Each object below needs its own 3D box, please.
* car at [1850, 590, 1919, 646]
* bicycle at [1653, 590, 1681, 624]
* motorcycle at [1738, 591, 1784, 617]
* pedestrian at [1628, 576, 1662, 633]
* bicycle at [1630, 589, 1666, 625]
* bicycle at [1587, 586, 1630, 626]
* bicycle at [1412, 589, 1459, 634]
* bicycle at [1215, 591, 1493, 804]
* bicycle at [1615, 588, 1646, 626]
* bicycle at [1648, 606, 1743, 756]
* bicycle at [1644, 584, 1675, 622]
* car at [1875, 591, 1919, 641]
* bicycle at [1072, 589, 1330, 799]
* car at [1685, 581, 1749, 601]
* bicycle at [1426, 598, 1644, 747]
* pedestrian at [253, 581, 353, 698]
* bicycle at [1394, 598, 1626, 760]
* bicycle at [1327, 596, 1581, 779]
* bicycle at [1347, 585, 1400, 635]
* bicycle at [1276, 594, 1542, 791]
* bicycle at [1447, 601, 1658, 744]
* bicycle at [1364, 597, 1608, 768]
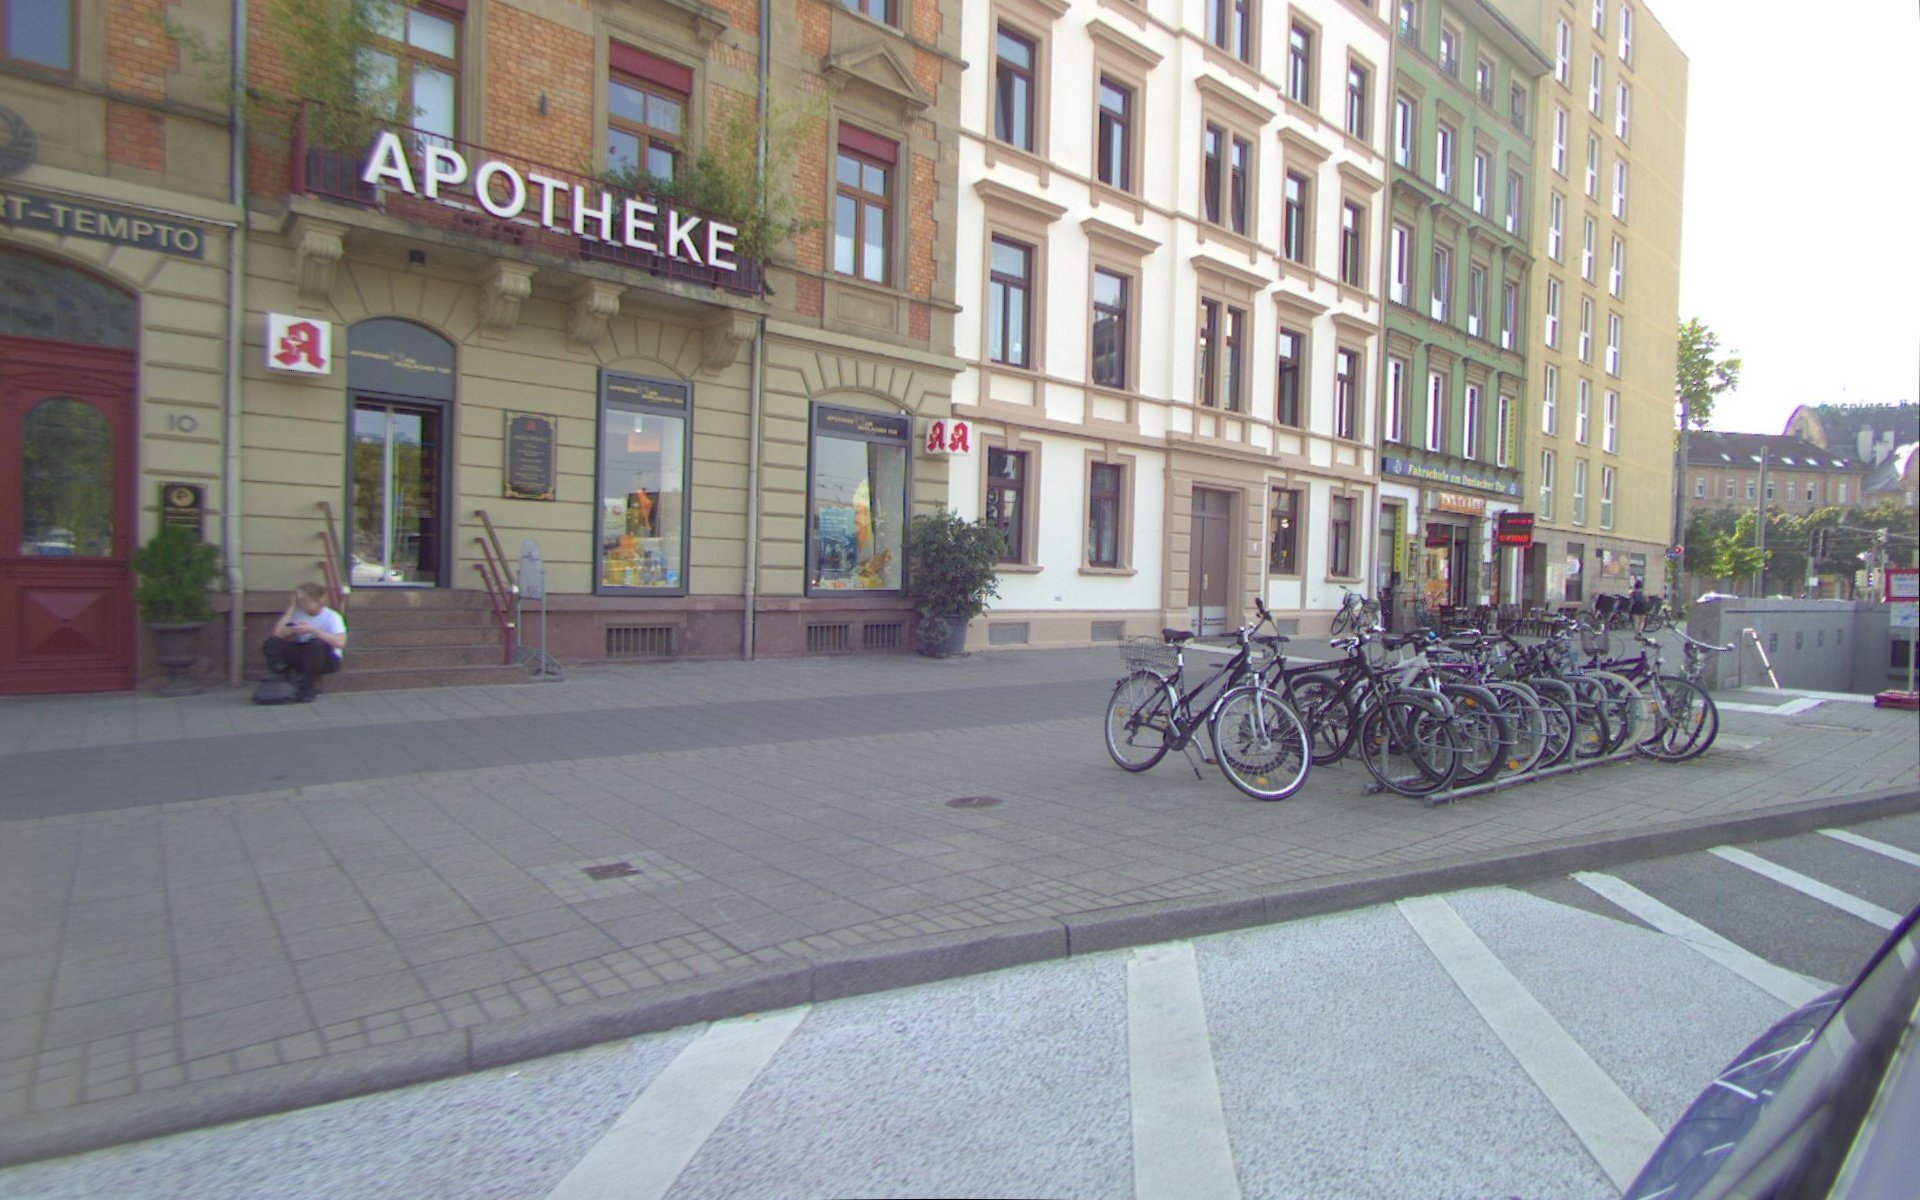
[{"bbox_3d":[27.319,0.510,28.146,3.470,1.482,1.619,1,1,9],"label":"car"},{"bbox_3d":[27.223,0.258,38.960,1.608,1.277,0.469,0,2,-41],"label":"bicycle"},{"bbox_3d":[37.742,0.181,47.699,2.253,1.161,0.707,1,1,-24],"label":"motorcycle"},{"bbox_3d":[20.288,0.113,29.981,0.724,1.649,0.610,0,2,-39],"label":"pedestrian"},{"bbox_3d":[25.018,0.239,36.774,1.816,1.276,0.603,0,2,-41],"label":"bicycle"},{"bbox_3d":[21.376,0.186,33.355,1.962,1.276,0.604,0,2,-40],"label":"bicycle"},{"bbox_3d":[12.429,0.287,26.439,1.688,1.148,0.384,0,2,-40],"label":"bicycle"},{"bbox_3d":[2.471,0.556,6.521,0.379,1.163,1.634,0,2,-44],"label":"bicycle"},{"bbox_3d":[23.287,0.232,35.125,0.602,1.276,1.967,3,2,42],"label":"bicycle"},{"bbox_3d":[6.425,0.651,8.813,0.407,1.163,1.630,3,2,44],"label":"bicycle"},{"bbox_3d":[24.187,0.097,34.962,0.602,1.276,1.967,3,2,42],"label":"bicycle"},{"bbox_3d":[30.472,0.508,30.206,4.336,1.441,1.844,1,2,9],"label":"car"},{"bbox_3d":[1.532,0.540,6.694,0.590,1.163,1.638,0,2,-37],"label":"bicycle"},{"bbox_3d":[58.065,-0.708,77.702,1.766,1.459,3.638,1,2,-9],"label":"car"},{"bbox_3d":[5.110,0.600,9.090,0.379,1.163,1.634,0,2,-44],"label":"bicycle"},{"bbox_3d":[-5.854,0.337,9.046,0.623,0.994,0.615,1,2,-20],"label":"pedestrian"},{"bbox_3d":[4.543,0.604,8.456,0.379,1.163,1.634,0,2,-44],"label":"bicycle"},{"bbox_3d":[3.596,0.582,7.490,0.379,1.163,1.634,0,2,-44],"label":"bicycle"},{"bbox_3d":[9.782,0.226,23.921,1.688,1.148,0.384,0,2,-40],"label":"bicycle"},{"bbox_3d":[3.057,0.573,7.027,0.379,1.163,1.634,0,2,-44],"label":"bicycle"},{"bbox_3d":[5.499,0.632,9.470,0.379,1.163,1.634,0,2,-44],"label":"bicycle"},{"bbox_3d":[4.081,0.588,7.962,0.379,1.163,1.634,0,2,-44],"label":"bicycle"}]
